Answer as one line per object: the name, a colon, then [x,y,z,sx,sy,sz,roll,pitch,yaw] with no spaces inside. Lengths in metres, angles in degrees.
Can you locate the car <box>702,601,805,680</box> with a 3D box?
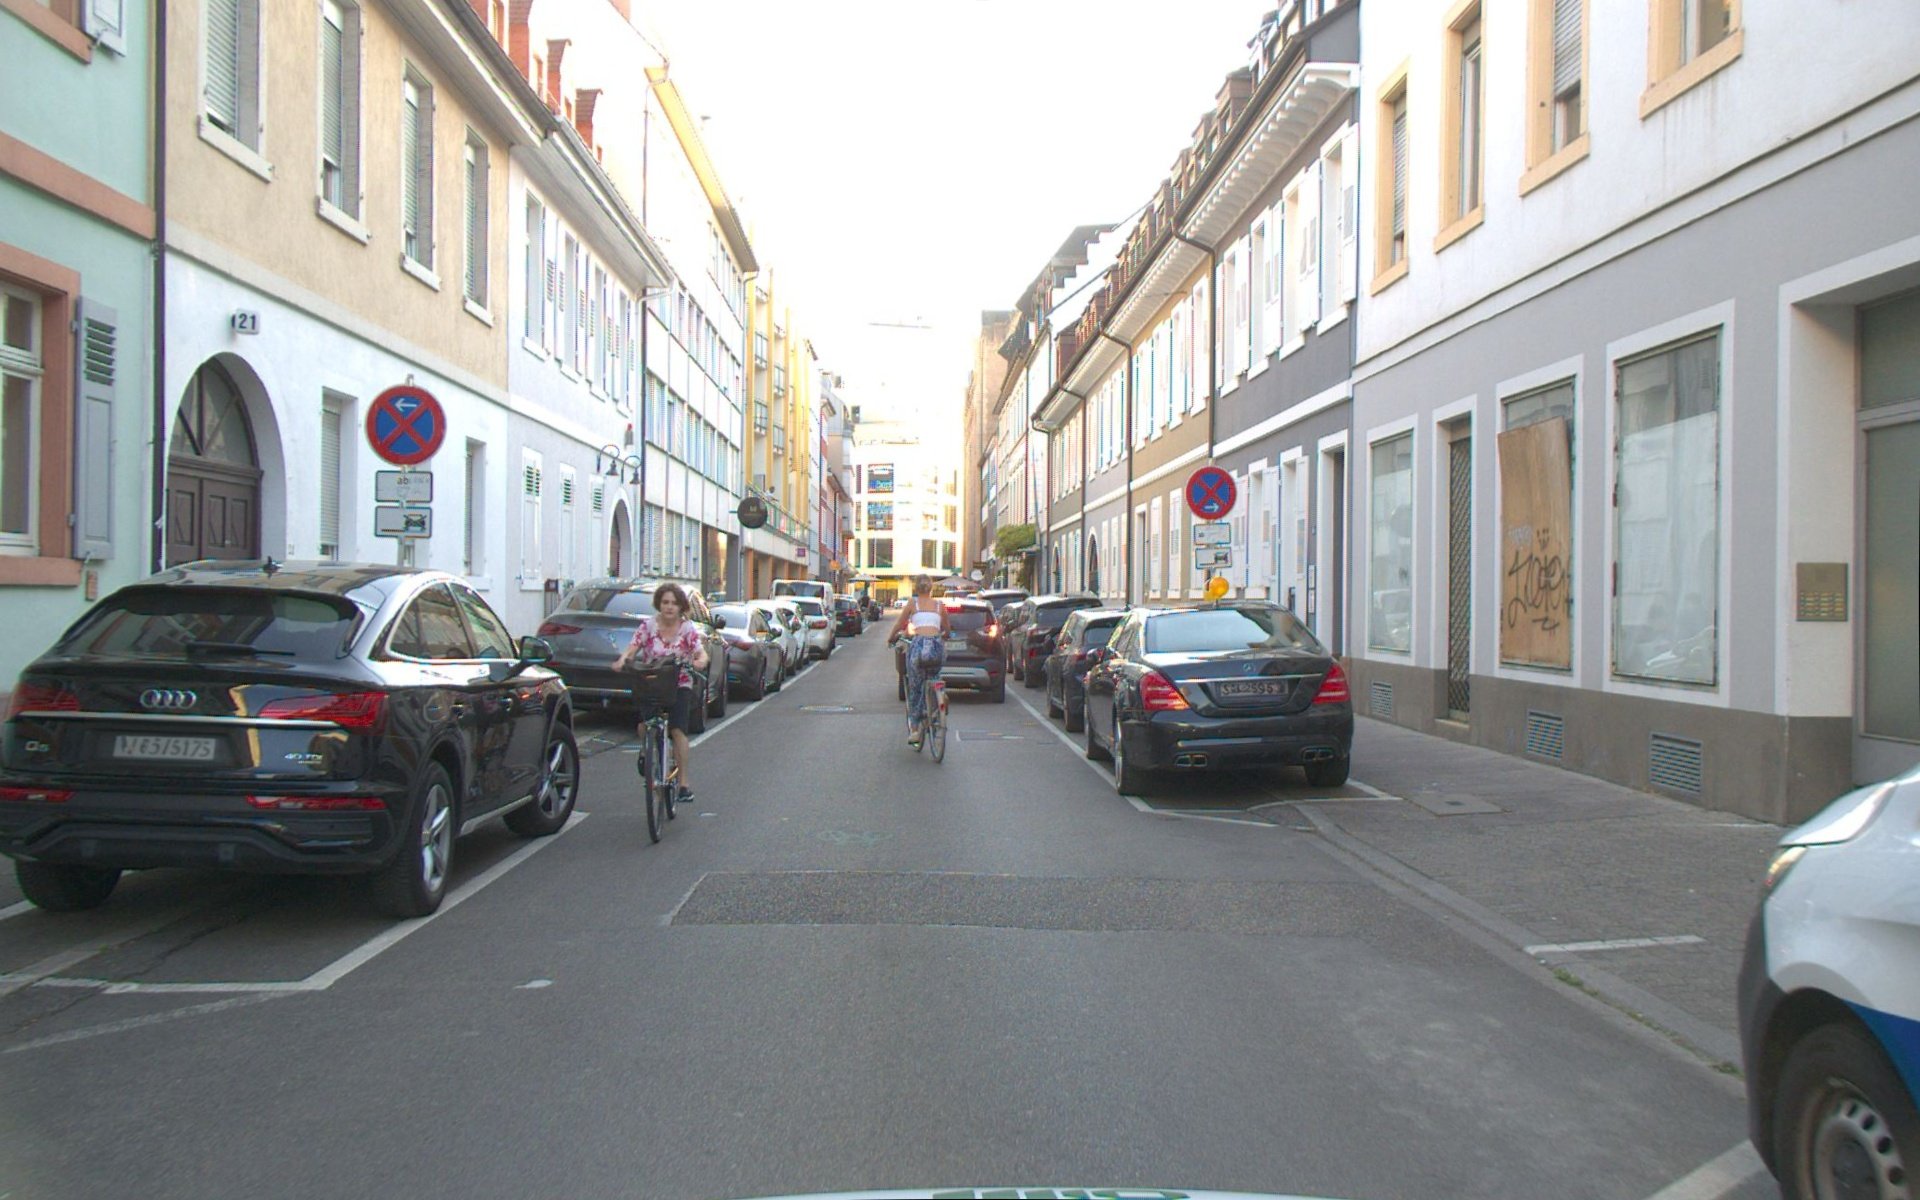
car: [-4.060,0.757,33.029,1.620,1.435,3.901,2,0,-1]

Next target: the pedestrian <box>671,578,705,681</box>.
pedestrian: [-5.418,0.584,32.985,0.598,2.049,0.449,1,0,-5]

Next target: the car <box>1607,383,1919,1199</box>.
car: [2.759,0.516,1.665,1.902,1.927,5.315,-3,0,-2]

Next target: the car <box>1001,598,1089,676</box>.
car: [1.815,0.764,36.245,1.620,1.588,3.604,2,0,-1]

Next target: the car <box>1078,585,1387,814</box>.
car: [2.164,0.723,14.546,1.782,1.556,5.070,-3,0,0]

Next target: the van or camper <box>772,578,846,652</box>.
van or camper: [-4.424,0.426,48.939,1.807,2.048,4.677,2,0,-1]

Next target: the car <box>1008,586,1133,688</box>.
car: [2.028,0.656,31.499,1.880,1.768,4.151,2,0,-3]

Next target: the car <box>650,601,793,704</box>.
car: [-3.764,0.784,26.758,1.880,1.459,4.291,2,0,-3]

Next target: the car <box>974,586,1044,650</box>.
car: [1.255,0.455,43.819,1.620,1.588,3.604,2,0,-1]

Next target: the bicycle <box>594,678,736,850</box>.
bicycle: [-1.917,1.041,10.980,0.601,0.948,1.886,1,0,0]

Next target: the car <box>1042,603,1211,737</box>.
car: [2.055,0.829,21.398,1.642,1.512,3.999,2,0,-2]

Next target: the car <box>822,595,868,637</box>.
car: [-4.542,0.612,65.619,1.620,1.588,3.604,2,0,-1]

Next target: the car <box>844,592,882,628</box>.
car: [-4.476,0.461,76.623,1.620,1.588,3.604,2,0,-1]

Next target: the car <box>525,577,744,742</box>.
car: [-3.820,0.641,20.192,1.958,1.737,4.533,2,0,-3]

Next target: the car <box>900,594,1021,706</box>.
car: [-0.059,0.749,26.930,1.783,1.646,3.998,2,0,-2]

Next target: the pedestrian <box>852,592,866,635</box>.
pedestrian: [-4.244,0.560,69.450,0.543,1.783,0.567,1,0,-5]

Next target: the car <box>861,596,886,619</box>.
car: [-6.123,0.514,117.723,1.620,1.588,3.604,2,0,-1]

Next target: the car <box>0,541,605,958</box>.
car: [-3.294,0.611,9.027,1.766,1.706,4.489,0,0,0]

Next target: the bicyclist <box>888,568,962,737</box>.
bicyclist: [-0.344,0.505,16.068,0.609,1.602,0.682,1,0,-9]

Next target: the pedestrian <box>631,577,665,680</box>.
pedestrian: [-6.242,0.573,33.098,0.598,2.049,0.449,1,0,-5]

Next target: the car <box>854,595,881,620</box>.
car: [-6.178,0.508,110.888,1.620,1.588,3.604,2,0,-1]

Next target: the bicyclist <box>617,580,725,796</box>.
bicyclist: [-1.928,0.572,11.084,0.593,1.393,0.621,1,0,0]

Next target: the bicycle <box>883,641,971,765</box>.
bicycle: [-0.350,0.976,16.174,0.602,1.101,1.805,1,0,-9]

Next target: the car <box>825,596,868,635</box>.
car: [-4.854,0.632,70.915,1.620,1.588,3.604,2,0,-1]

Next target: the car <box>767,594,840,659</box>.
car: [-4.035,0.663,43.103,1.620,1.588,3.604,2,0,-1]

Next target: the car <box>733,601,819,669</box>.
car: [-4.185,0.777,38.117,1.620,1.435,3.604,2,0,-1]
